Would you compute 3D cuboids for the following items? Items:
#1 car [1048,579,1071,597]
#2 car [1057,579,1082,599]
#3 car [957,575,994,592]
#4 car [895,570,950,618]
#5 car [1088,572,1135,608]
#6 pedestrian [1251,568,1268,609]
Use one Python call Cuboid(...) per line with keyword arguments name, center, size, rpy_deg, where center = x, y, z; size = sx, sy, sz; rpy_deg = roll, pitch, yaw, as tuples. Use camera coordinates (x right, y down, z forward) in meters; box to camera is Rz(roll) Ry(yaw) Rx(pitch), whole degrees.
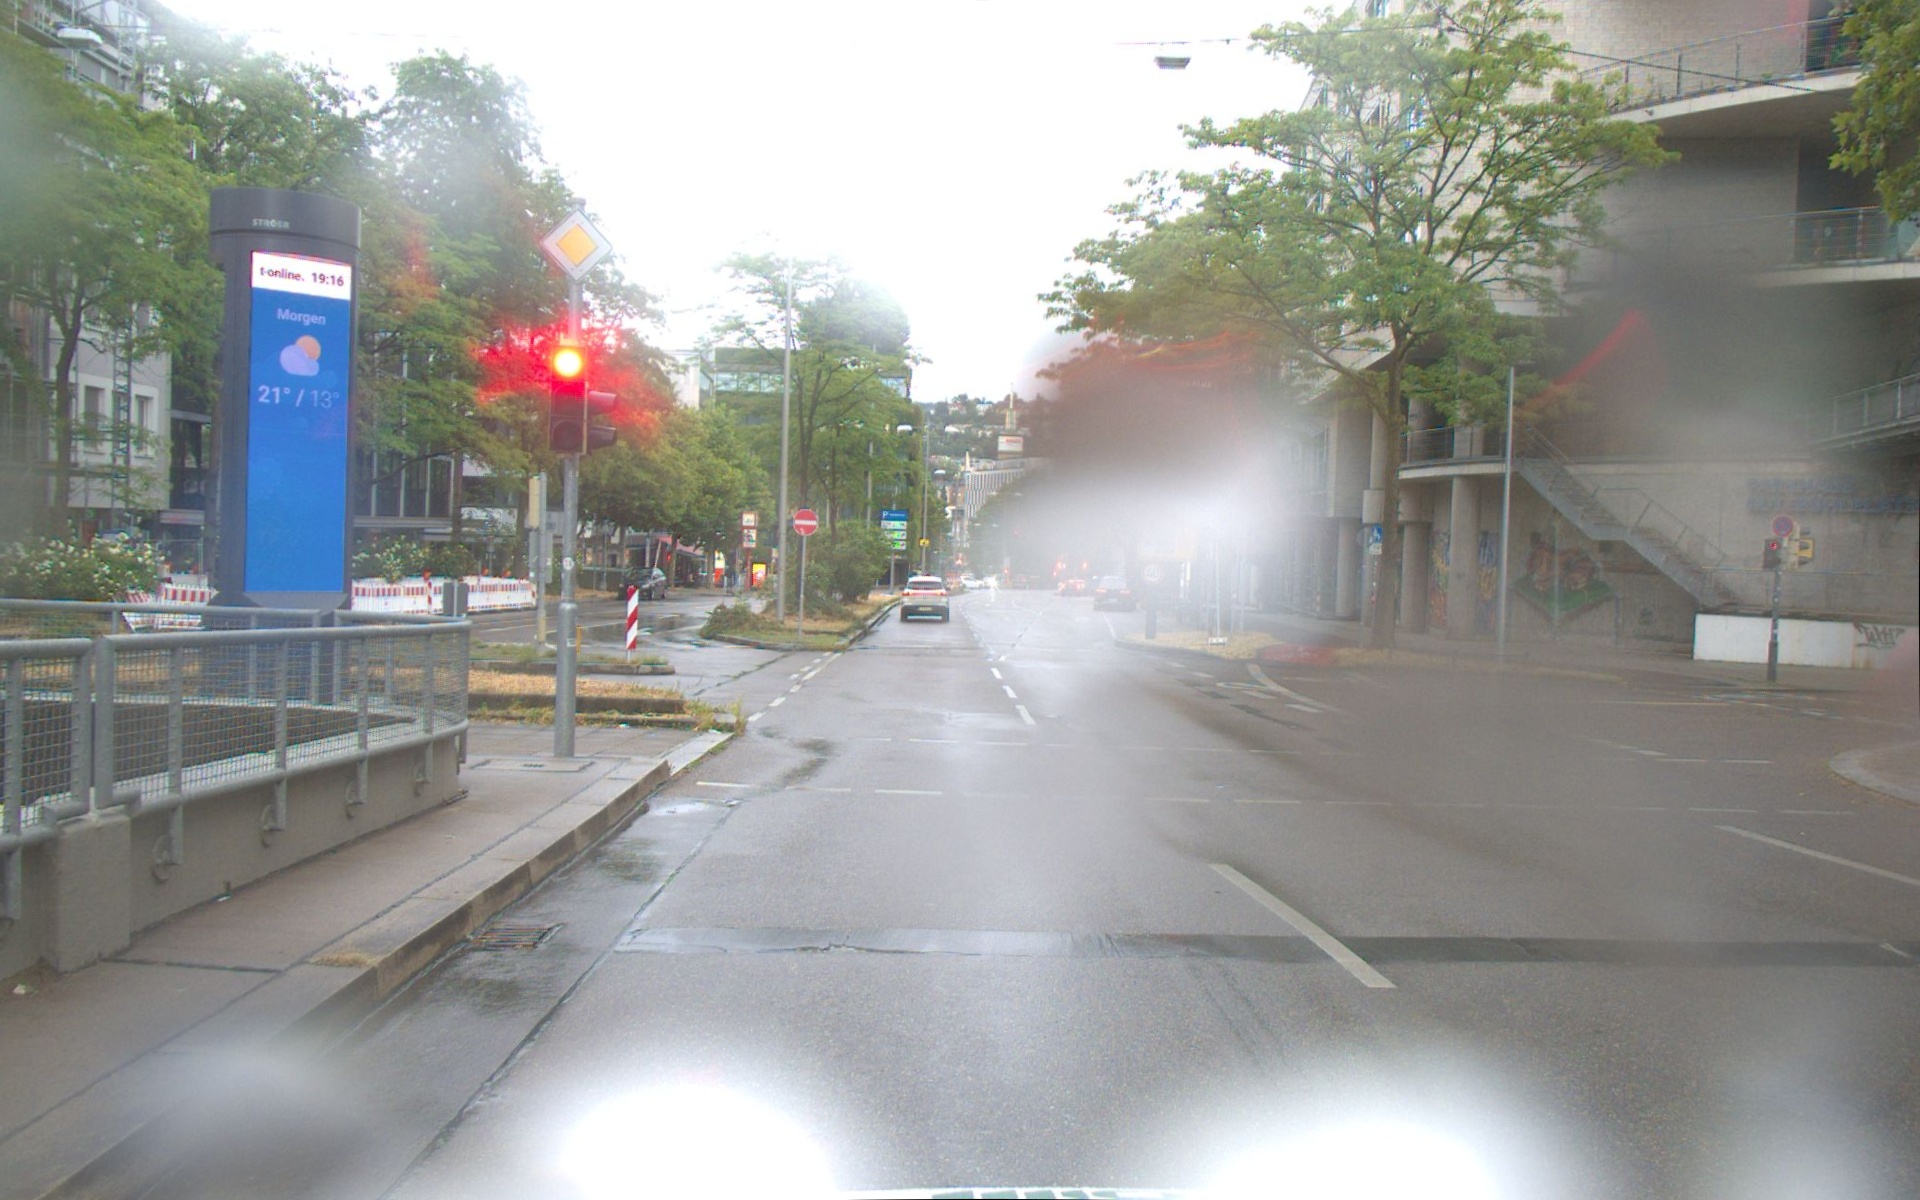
Cuboid(name="car", center=(10.038, -1.188, 166.961), size=(1.953, 1.766, 3.999), rpy_deg=(1, 0, -1))
Cuboid(name="car", center=(10.324, -1.010, 155.884), size=(1.953, 1.754, 3.999), rpy_deg=(1, 0, -2))
Cuboid(name="car", center=(1.778, -1.955, 192.407), size=(3.963, 1.789, 1.971), rpy_deg=(2, 0, -40))
Cuboid(name="car", center=(-1.434, -0.228, 62.098), size=(1.793, 1.668, 4.297), rpy_deg=(2, 0, -4))
Cuboid(name="car", center=(7.672, -0.507, 83.538), size=(2.288, 1.720, 4.003), rpy_deg=(1, 1, 6))
Cuboid(name="pedestrian", center=(14.402, -0.567, 79.621), size=(0.759, 1.954, 0.703), rpy_deg=(1, -1, 9))
